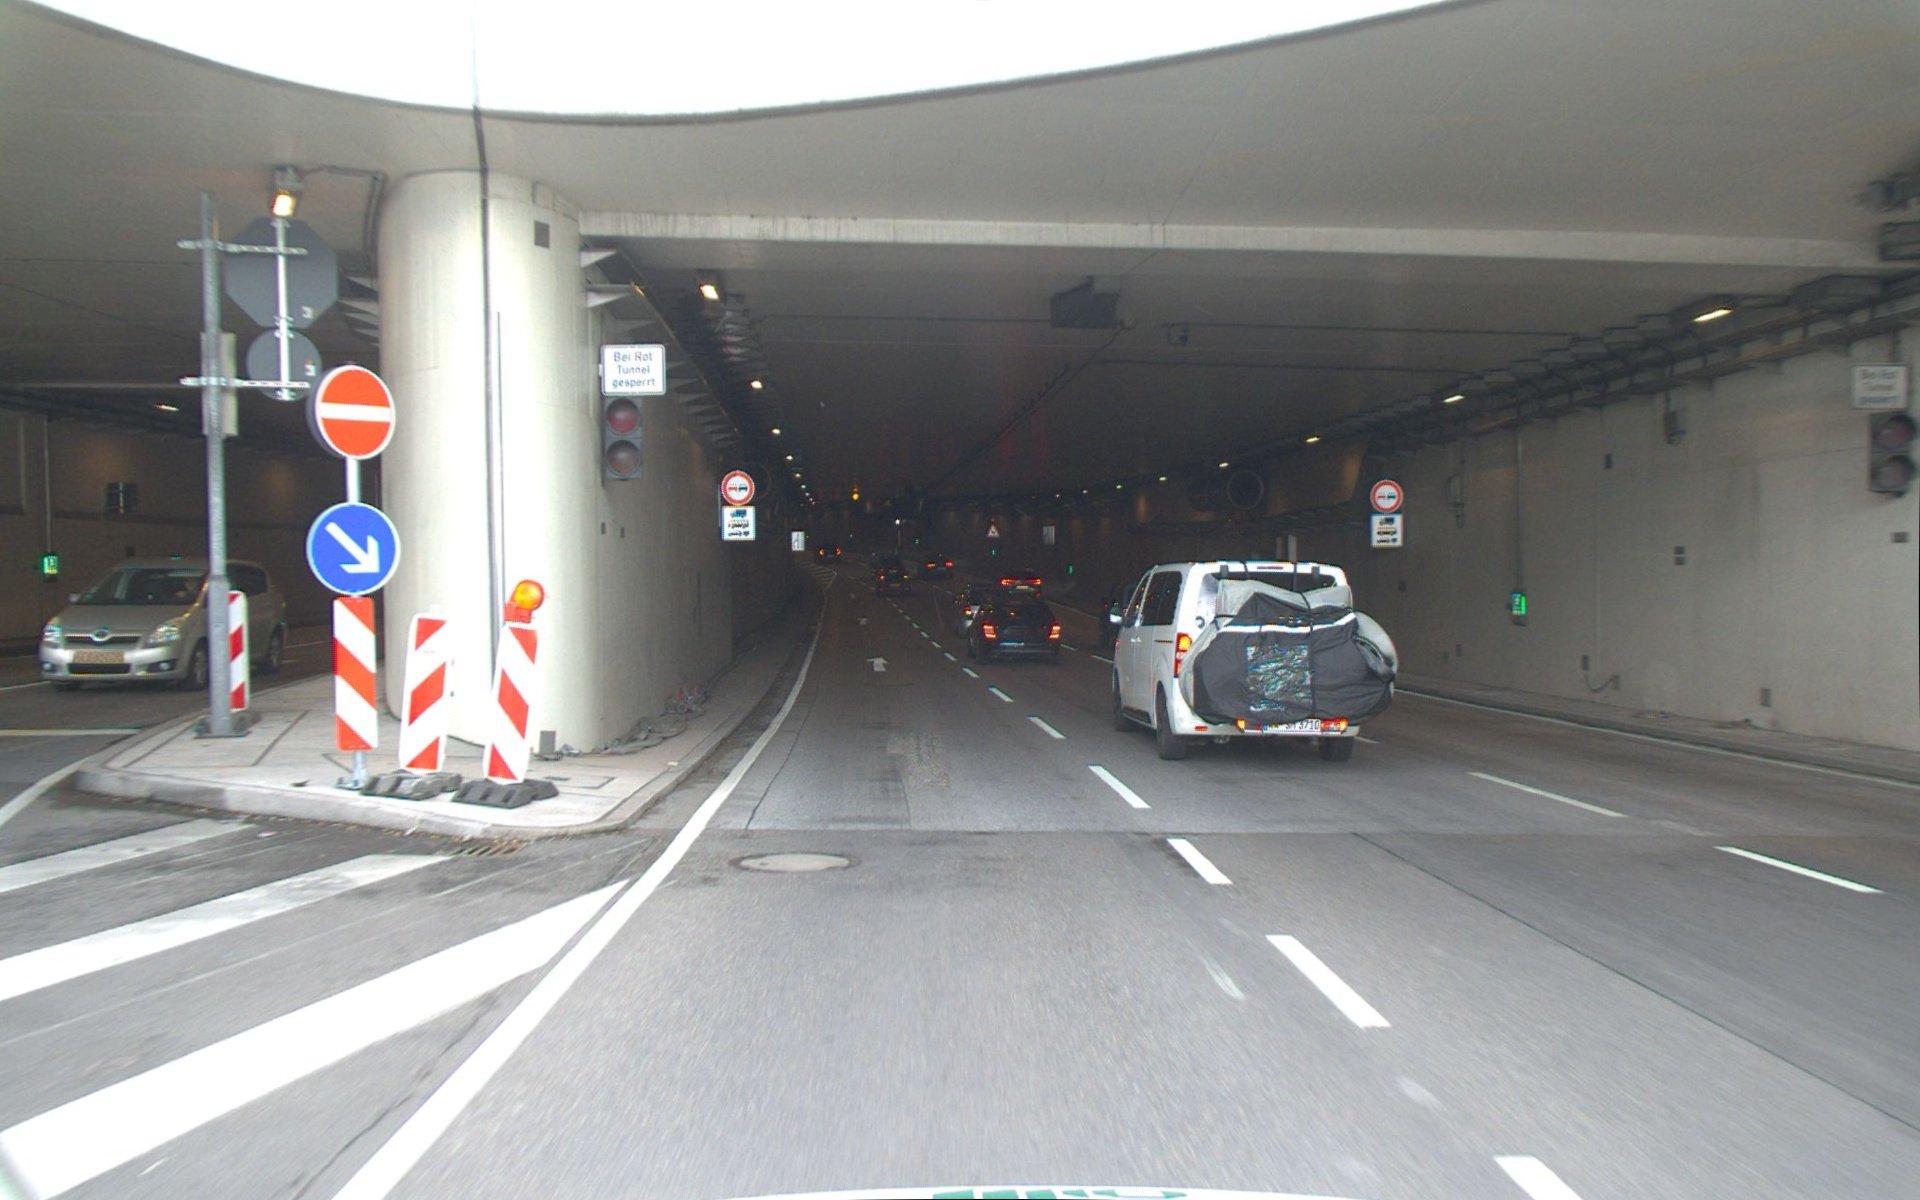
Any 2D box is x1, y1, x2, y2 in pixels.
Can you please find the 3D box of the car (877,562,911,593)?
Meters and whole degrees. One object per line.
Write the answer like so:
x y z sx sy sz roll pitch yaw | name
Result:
-3.343 -1.102 82.832 1.627 1.514 3.565 0 0 -4 | car

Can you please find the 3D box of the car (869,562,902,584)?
-4.443 -1.576 98.551 1.632 1.269 3.561 0 0 -8 | car

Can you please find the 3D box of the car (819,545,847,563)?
-9.530 -3.429 123.700 1.483 1.268 3.554 0 1 -14 | car

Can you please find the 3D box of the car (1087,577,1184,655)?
4.536 0.369 43.272 1.783 1.779 3.998 3 1 -4 | car

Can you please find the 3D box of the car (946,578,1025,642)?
0.689 0.257 48.290 1.784 1.607 3.996 3 1 -6 | car

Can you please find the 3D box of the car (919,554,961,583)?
-1.226 -1.902 100.170 1.953 1.705 4.499 0 0 -9 | car

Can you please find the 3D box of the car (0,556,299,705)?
-10.201 0.282 21.255 1.772 1.632 4.784 -1 2 -4 | car

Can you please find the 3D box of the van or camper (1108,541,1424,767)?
2.841 0.456 16.744 1.953 1.877 5.505 1 0 -2 | van or camper

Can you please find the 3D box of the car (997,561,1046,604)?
2.570 -0.751 70.079 1.627 1.662 3.565 3 1 -4 | car

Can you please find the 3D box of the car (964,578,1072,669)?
1.171 0.454 34.999 1.783 1.713 3.997 1 2 -5 | car
